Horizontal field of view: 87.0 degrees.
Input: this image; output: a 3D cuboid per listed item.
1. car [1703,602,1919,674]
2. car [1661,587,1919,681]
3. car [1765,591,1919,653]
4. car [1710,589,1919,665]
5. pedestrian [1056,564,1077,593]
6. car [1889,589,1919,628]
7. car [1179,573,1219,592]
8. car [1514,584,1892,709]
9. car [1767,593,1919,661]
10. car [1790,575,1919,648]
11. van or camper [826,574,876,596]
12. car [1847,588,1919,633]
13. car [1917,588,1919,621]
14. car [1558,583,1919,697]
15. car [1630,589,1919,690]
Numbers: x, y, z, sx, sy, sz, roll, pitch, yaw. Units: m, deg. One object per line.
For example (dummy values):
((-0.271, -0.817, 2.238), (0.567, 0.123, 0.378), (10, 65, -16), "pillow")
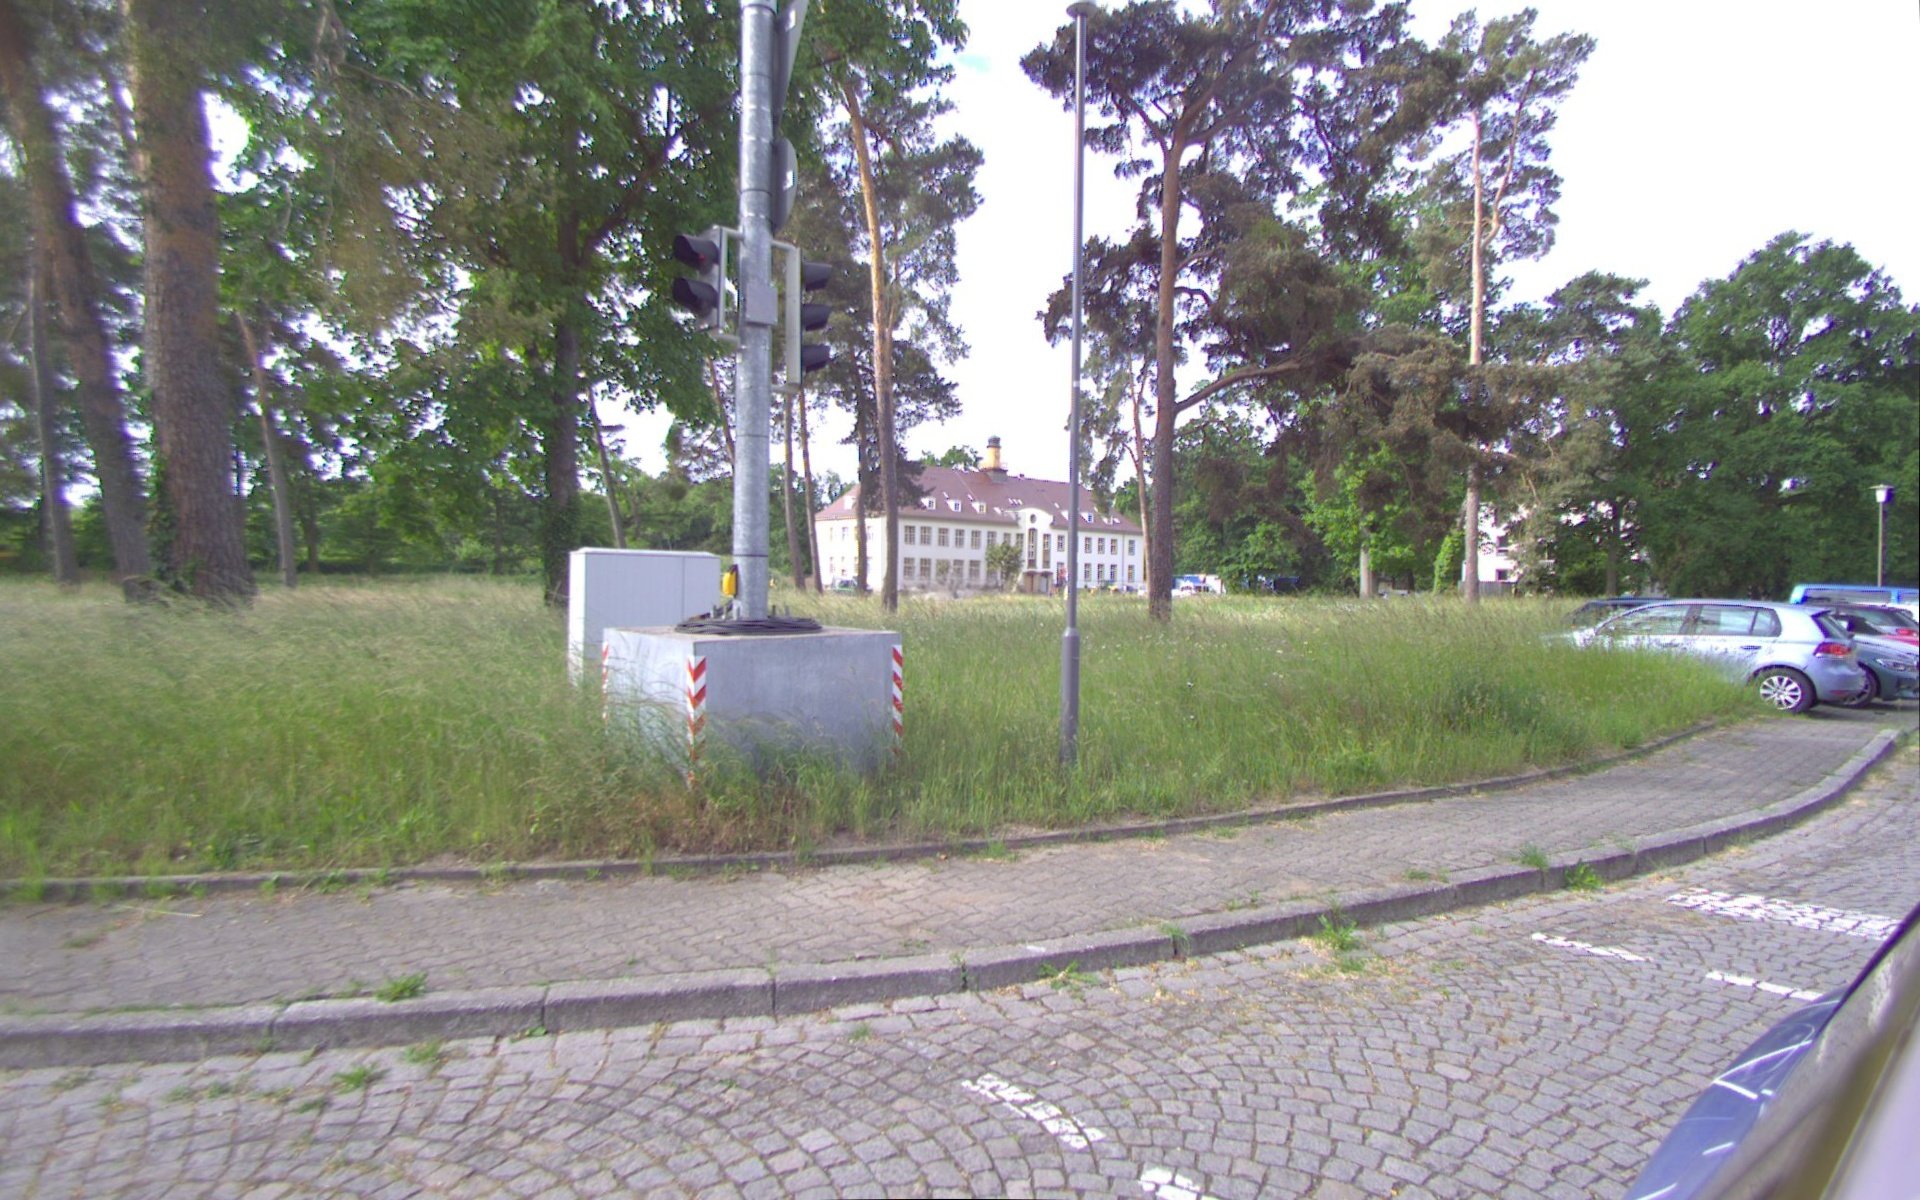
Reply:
((17.871, 0.726, 20.774), (1.765, 1.250, 3.931), (0, 2, -40), "car")
((15.939, 0.555, 19.259), (1.764, 1.531, 3.933), (0, 2, -38), "car")
((23.783, 0.540, 26.530), (1.765, 1.467, 3.931), (0, 2, -41), "car")
((19.525, 0.547, 22.776), (1.765, 1.494, 3.931), (0, 2, -40), "car")
((8.413, -1.696, 79.998), (1.037, 2.205, 1.183), (0, 1, -41), "pedestrian")
((41.738, 0.398, 42.452), (1.967, 1.589, 3.990), (0, 2, -44), "car")
((27.241, -1.984, 115.266), (4.754, 2.039, 2.163), (0, 2, -43), "car")
((10.317, 0.537, 14.293), (1.765, 1.436, 3.995), (0, 2, -40), "car")
((21.882, 0.616, 24.080), (1.765, 1.453, 3.931), (0, 2, -41), "car")
((27.750, 0.321, 29.744), (1.963, 2.038, 4.843), (0, 2, -37), "car")
((-12.486, -1.754, 115.441), (2.424, 2.335, 6.114), (0, 2, -43), "van or camper")
((34.170, 0.388, 35.738), (1.835, 1.523, 3.997), (0, 2, -39), "car")
((49.303, 0.269, 49.195), (1.964, 1.589, 3.790), (0, 2, -40), "car")
((12.282, 0.516, 15.917), (1.765, 1.463, 4.627), (0, 2, -41), "car")
((14.389, 0.593, 17.567), (1.764, 1.463, 4.267), (0, 2, -38), "car")
